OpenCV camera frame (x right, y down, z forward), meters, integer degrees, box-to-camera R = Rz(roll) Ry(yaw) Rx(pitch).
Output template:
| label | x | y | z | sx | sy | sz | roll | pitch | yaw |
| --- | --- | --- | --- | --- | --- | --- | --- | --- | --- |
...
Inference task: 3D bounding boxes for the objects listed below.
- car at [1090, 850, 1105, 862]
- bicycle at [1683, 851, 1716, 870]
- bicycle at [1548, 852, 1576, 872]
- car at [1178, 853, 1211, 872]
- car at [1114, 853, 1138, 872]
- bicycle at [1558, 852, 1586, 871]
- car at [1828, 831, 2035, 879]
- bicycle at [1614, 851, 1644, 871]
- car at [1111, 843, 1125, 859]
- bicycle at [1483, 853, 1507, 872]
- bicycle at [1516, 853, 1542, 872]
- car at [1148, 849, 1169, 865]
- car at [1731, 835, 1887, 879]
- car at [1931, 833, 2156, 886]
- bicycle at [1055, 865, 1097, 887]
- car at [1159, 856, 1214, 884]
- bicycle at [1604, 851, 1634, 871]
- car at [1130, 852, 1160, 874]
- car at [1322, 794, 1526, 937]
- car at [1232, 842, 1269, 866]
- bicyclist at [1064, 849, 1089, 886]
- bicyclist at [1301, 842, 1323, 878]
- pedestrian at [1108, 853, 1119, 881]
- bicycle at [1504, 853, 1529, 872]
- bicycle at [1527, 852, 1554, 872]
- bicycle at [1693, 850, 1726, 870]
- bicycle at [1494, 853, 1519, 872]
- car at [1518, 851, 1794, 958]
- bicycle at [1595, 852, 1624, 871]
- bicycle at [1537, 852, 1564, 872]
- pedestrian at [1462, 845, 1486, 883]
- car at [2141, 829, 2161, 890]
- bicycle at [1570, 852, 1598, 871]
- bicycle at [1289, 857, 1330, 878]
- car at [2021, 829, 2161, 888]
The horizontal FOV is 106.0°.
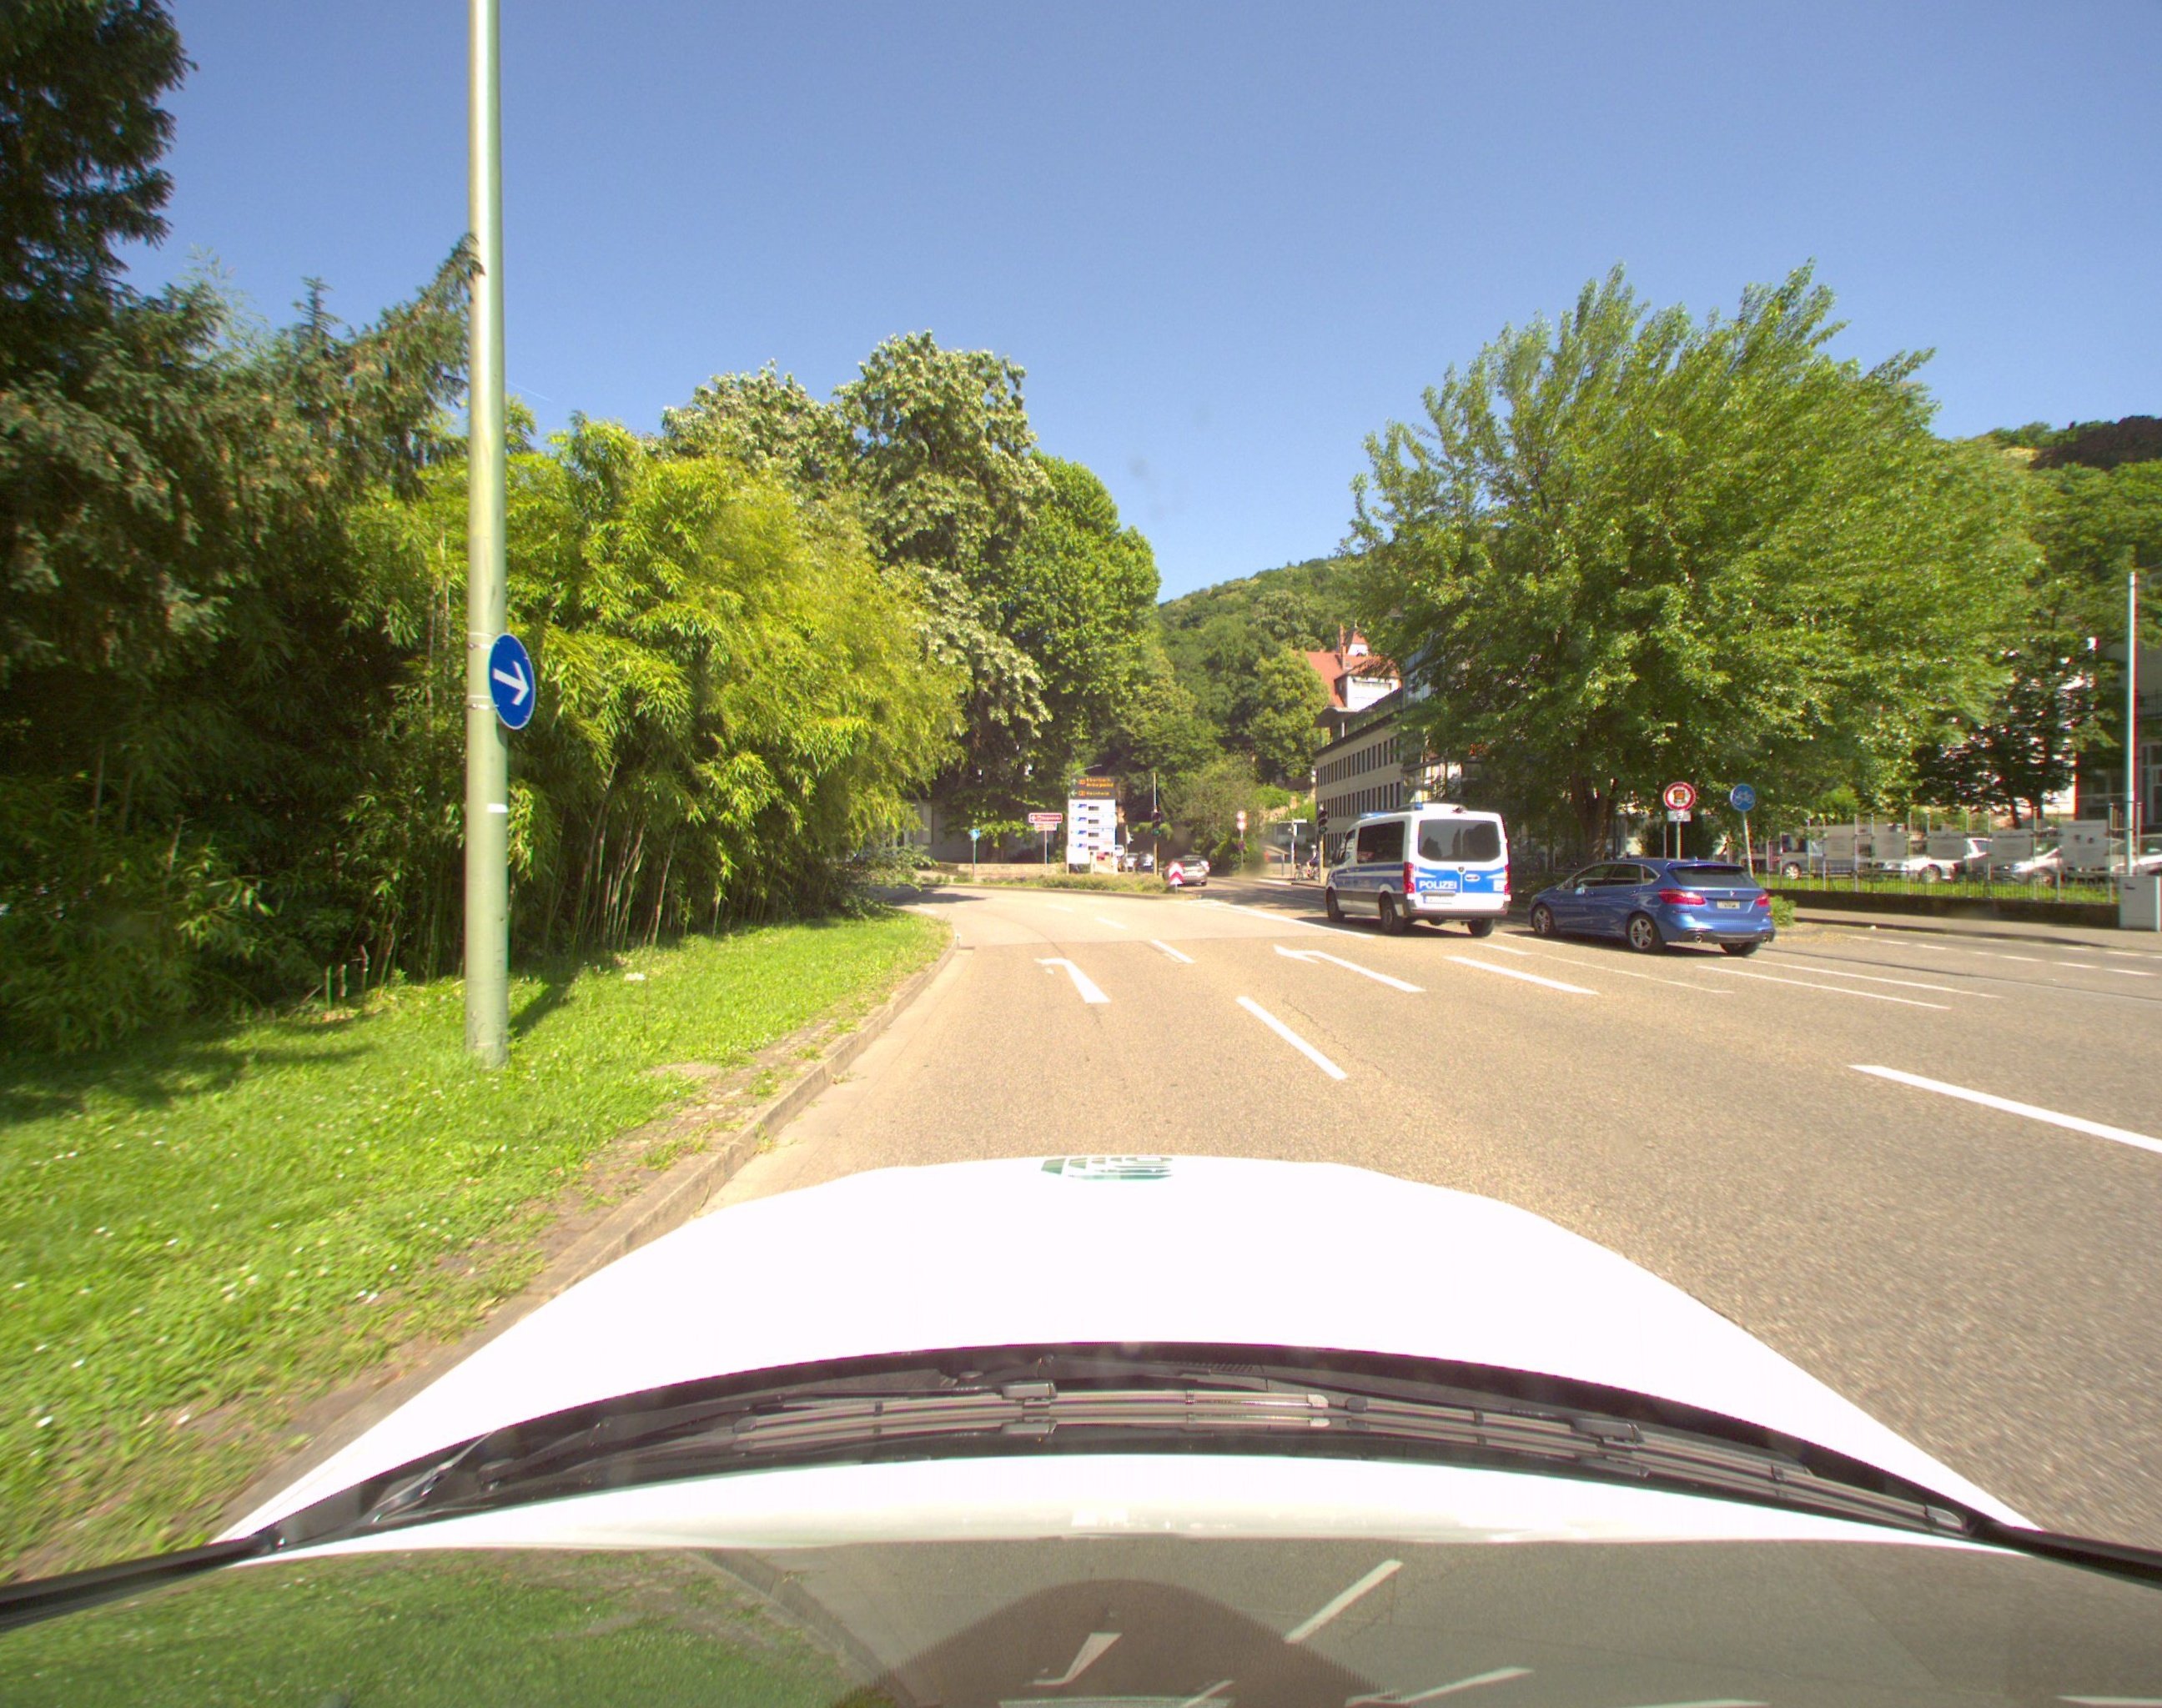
| label | x | y | z | sx | sy | sz | roll | pitch | yaw |
| --- | --- | --- | --- | --- | --- | --- | --- | --- | --- |
| car | 1.983 | 0.237 | 99.829 | 1.750 | 1.461 | 3.493 | 0 | 0 | 0 |
| bicycle | 35.468 | 0.349 | 46.717 | 0.535 | 1.085 | 1.836 | -1 | 0 | 2 |
| bicycle | 27.576 | 0.441 | 46.714 | 0.535 | 1.085 | 1.836 | -1 | 0 | 2 |
| car | 7.694 | 0.542 | 55.524 | 1.750 | 1.213 | 3.493 | 0 | 0 | 0 |
| car | 3.623 | 0.690 | 65.778 | 1.750 | 1.461 | 3.645 | 0 | 0 | 0 |
| bicycle | 28.155 | 0.435 | 46.749 | 0.535 | 1.085 | 1.836 | -1 | 0 | 2 |
| car | 25.426 | 0.023 | 24.446 | 4.455 | 1.336 | 1.820 | 0 | 0 | -3 |
| bicycle | 31.236 | 0.397 | 46.422 | 0.535 | 1.085 | 1.836 | -1 | 0 | 2 |
| car | 4.774 | -0.397 | 105.897 | 1.750 | 1.938 | 3.493 | 0 | 0 | 0 |
| bicycle | 23.809 | 0.486 | 46.867 | 0.535 | 1.085 | 1.836 | -1 | 0 | 2 |
| bicycle | 25.657 | 0.464 | 46.710 | 0.535 | 1.085 | 1.836 | -1 | 0 | 2 |
| car | 7.530 | 0.291 | 79.572 | 1.750 | 1.461 | 3.645 | 0 | 0 | 0 |
| car | 26.063 | 0.106 | 29.225 | 4.135 | 1.476 | 1.875 | 0 | 0 | -5 |
| car | 25.763 | 0.135 | 21.890 | 4.074 | 1.336 | 1.820 | 0 | 0 | -3 |
| bicycle | -0.254 | 1.120 | 42.515 | 2.057 | 1.112 | 0.761 | 0 | 0 | 25 |
| car | 5.316 | 0.792 | 41.541 | 1.756 | 1.334 | 3.789 | 0 | 0 | -10 |
| bicycle | 30.643 | 0.403 | 46.397 | 0.535 | 1.085 | 1.836 | -1 | 0 | 2 |
| car | 4.383 | 0.568 | 56.037 | 1.750 | 1.461 | 3.493 | 0 | 0 | 0 |
| car | 6.762 | 0.220 | 16.767 | 2.067 | 2.508 | 4.927 | 0 | 0 | -1 |
| car | 12.835 | 0.017 | 61.847 | 1.925 | 1.697 | 3.999 | -1 | 0 | 0 |
| bicyclist | -0.227 | 0.706 | 42.511 | 1.116 | 1.932 | 0.752 | 0 | -1 | 25 |
| bicyclist | 12.454 | 0.303 | 43.972 | 1.118 | 1.932 | 0.751 | 0 | -1 | 13 |
| pedestrian | 1.923 | 0.748 | 48.248 | 0.543 | 1.621 | 0.636 | -1 | 0 | 9 |
| bicycle | 25.044 | 0.472 | 46.834 | 0.535 | 1.085 | 1.836 | -1 | 0 | 2 |
| bicycle | 26.333 | 0.456 | 46.704 | 0.535 | 1.085 | 1.836 | -1 | 0 | 2 |
| bicycle | 36.036 | 0.342 | 46.690 | 0.535 | 1.085 | 1.836 | -1 | 0 | 2 |
| bicycle | 24.450 | 0.479 | 46.842 | 0.535 | 1.085 | 1.836 | -1 | 0 | 2 |
| car | 9.753 | 0.752 | 14.316 | 1.715 | 1.541 | 4.267 | 1 | 0 | -3 |
| bicycle | 30.039 | 0.410 | 46.337 | 0.535 | 1.085 | 1.836 | -1 | 0 | 2 |
| bicycle | 26.930 | 0.449 | 46.711 | 0.535 | 1.085 | 1.836 | -1 | 0 | 2 |
| pedestrian | 19.112 | 0.477 | 39.636 | 0.768 | 1.854 | 0.829 | 0 | 0 | 1 |
| car | 25.903 | 0.105 | 17.428 | 4.030 | 1.336 | 1.990 | 0 | 0 | -2 |
| bicycle | 28.731 | 0.427 | 46.545 | 0.535 | 1.085 | 1.836 | -1 | 0 | 2 |
| bicycle | 12.323 | 0.707 | 44.000 | 2.062 | 1.112 | 0.759 | 0 | 0 | 12 |
| car | 25.799 | 0.085 | 19.738 | 4.030 | 1.336 | 1.859 | 0 | 0 | -3 |
